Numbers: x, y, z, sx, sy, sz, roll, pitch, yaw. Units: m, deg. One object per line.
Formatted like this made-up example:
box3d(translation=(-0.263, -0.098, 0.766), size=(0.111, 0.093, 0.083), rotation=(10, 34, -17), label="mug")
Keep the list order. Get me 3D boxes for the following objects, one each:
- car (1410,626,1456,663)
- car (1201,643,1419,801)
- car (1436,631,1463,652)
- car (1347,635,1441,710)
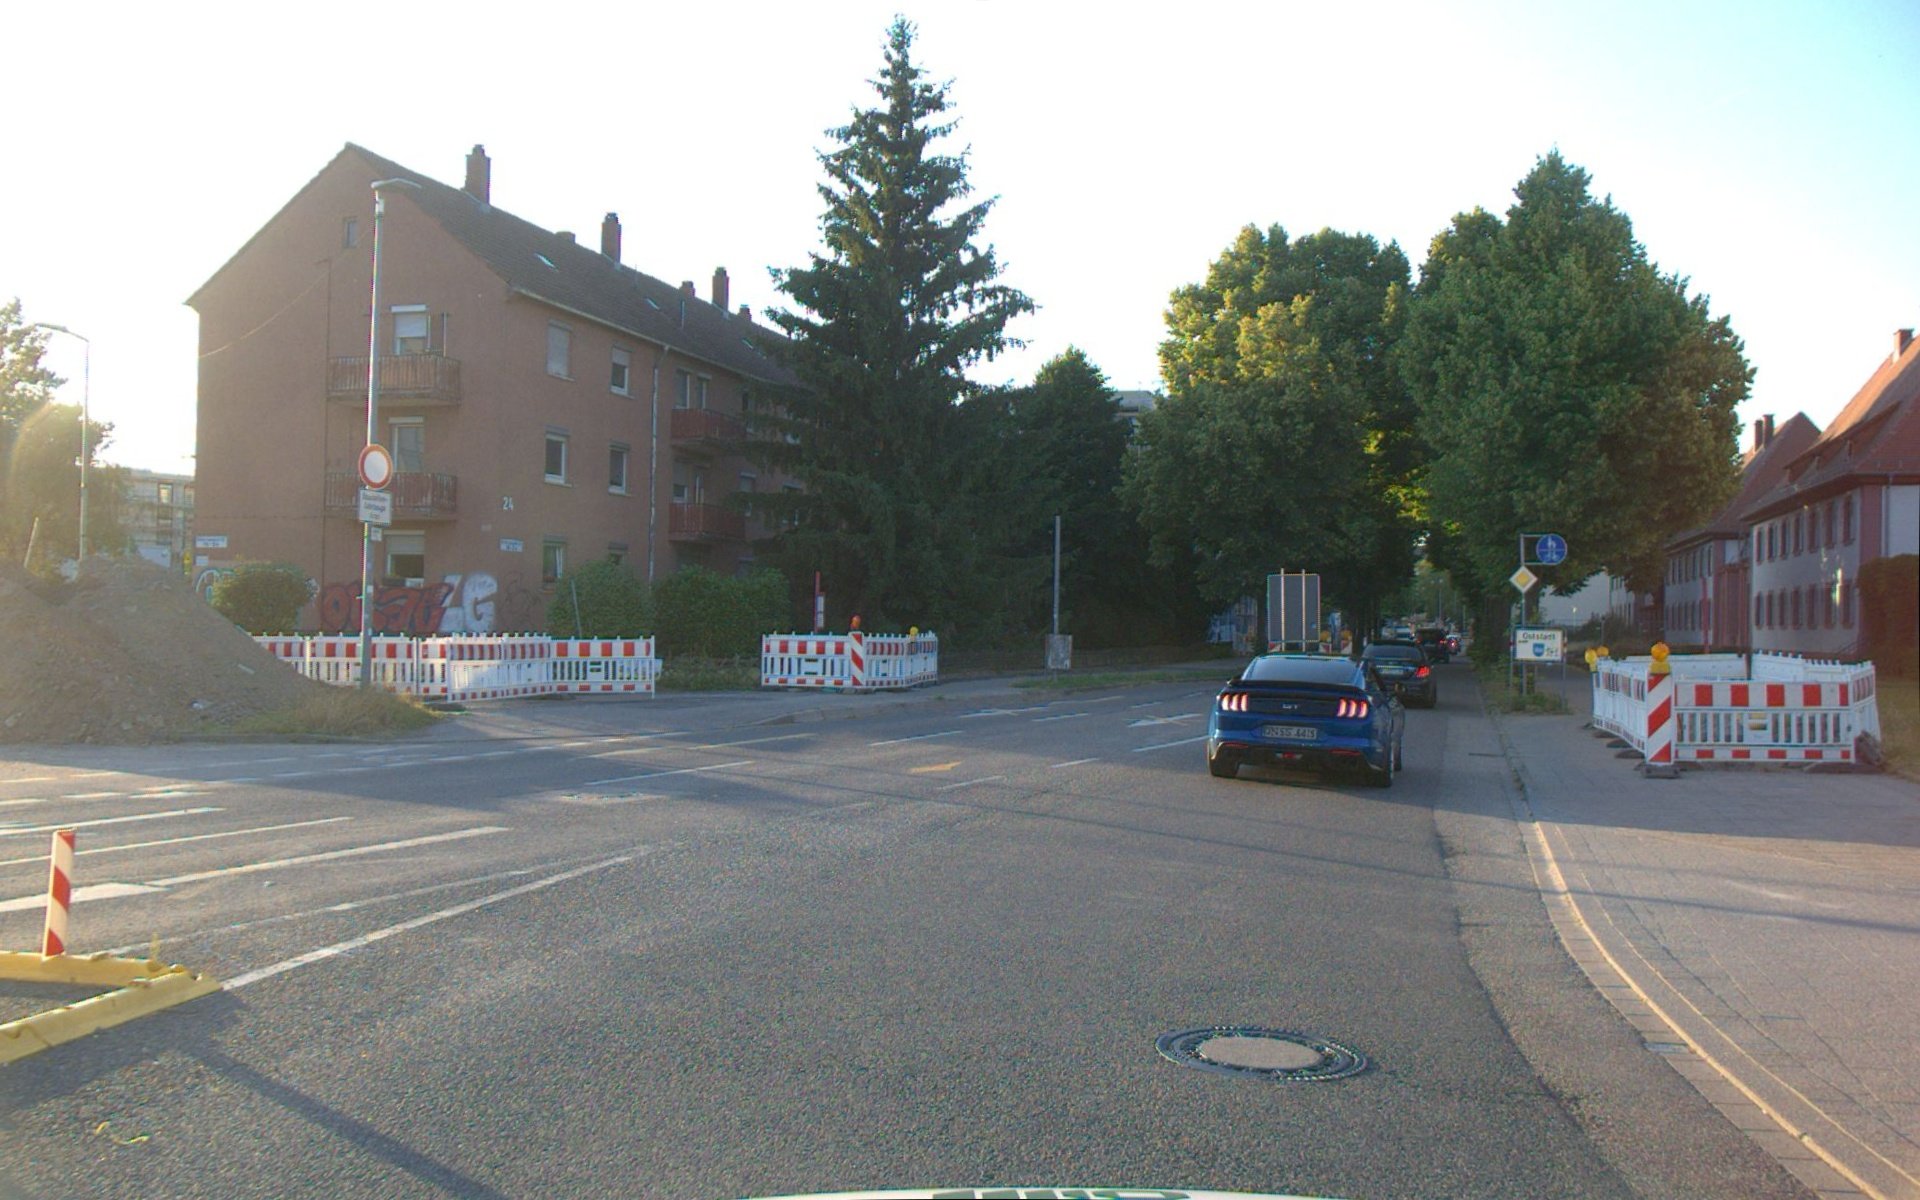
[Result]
box3d(translation=(22.627, 2.114, 79.076), size=(1.910, 1.598, 4.431), rotation=(2, 0, 18), label="car")
box3d(translation=(4.049, 1.246, 18.533), size=(1.910, 1.365, 4.673), rotation=(3, 0, 17), label="car")
box3d(translation=(40.644, 3.421, 137.279), size=(1.910, 1.598, 4.431), rotation=(2, 0, 18), label="car")
box3d(translation=(9.794, 1.587, 37.266), size=(1.910, 1.452, 4.432), rotation=(2, 0, 15), label="car")
